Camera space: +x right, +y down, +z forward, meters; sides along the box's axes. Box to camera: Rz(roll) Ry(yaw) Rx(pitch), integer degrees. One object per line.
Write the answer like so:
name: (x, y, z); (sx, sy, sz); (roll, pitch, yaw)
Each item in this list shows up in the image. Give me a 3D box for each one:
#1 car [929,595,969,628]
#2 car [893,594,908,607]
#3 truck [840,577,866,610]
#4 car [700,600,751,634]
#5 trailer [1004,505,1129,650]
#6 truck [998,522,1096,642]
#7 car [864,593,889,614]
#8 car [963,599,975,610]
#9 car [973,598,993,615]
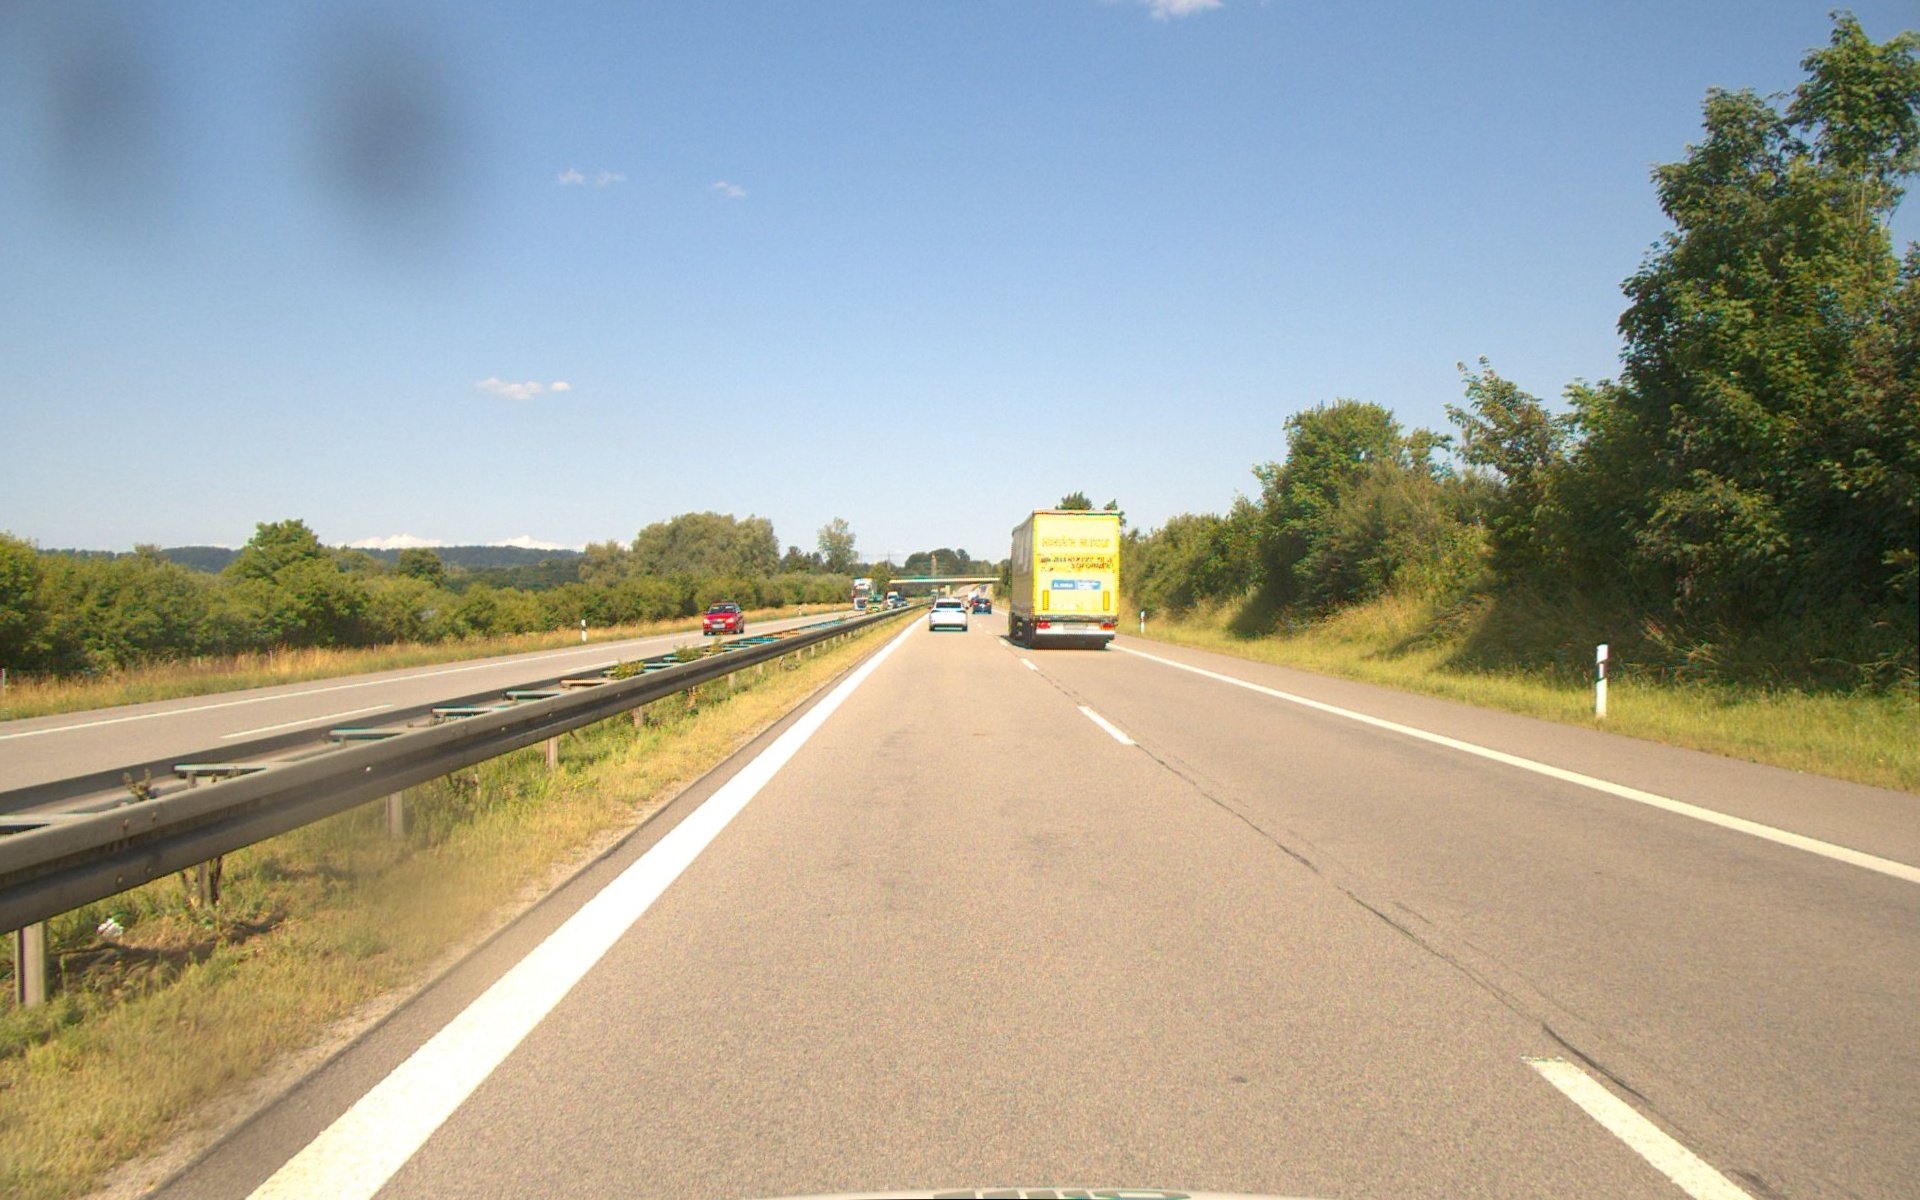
car: (-0.483, 0.509, 76.269); (1.805, 1.440, 4.000); (1, 0, 0)
car: (-7.895, 0.043, 220.664); (1.690, 1.610, 4.767); (-3, 0, 0)
truck: (-14.347, -0.834, 222.145); (3.105, 4.185, 6.386); (-2, 0, -1)
car: (-11.236, 0.808, 79.555); (1.695, 1.537, 4.480); (-3, 0, 1)
trailer: (3.261, -0.637, 54.642); (3.120, 4.130, 13.184); (1, 0, -1)
truck: (3.144, -0.613, 61.723); (3.105, 4.186, 6.386); (1, 0, -2)
car: (-8.032, 0.354, 159.127); (1.910, 1.802, 4.749); (-4, 0, 1)
car: (1.401, 0.753, 261.111); (1.863, 1.712, 4.730); (2, 0, -1)
car: (2.206, 0.641, 158.277); (1.805, 1.546, 4.000); (1, 0, 0)
